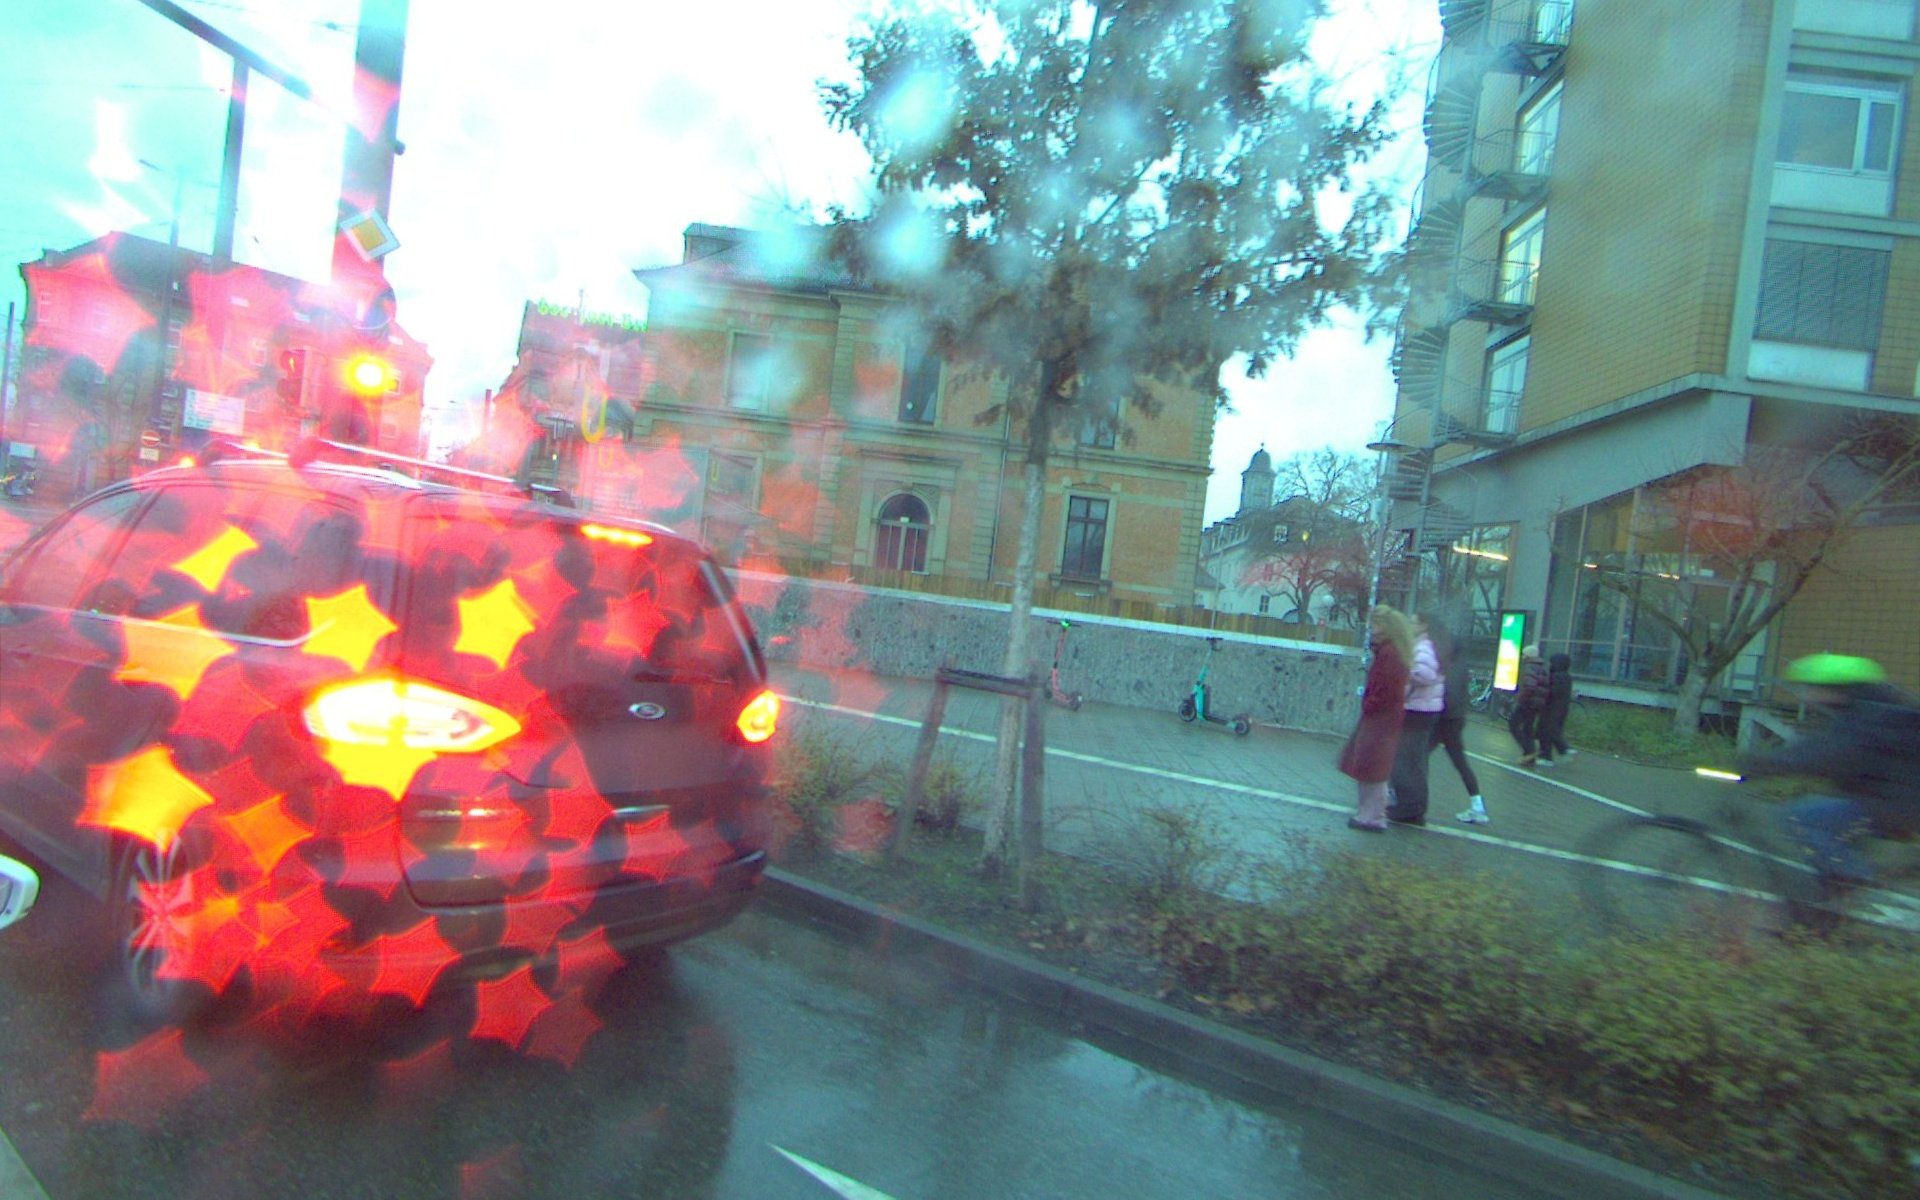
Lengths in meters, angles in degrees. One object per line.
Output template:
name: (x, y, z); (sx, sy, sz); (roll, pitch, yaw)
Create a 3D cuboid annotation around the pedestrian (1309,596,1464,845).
pedestrian: (3.332, 0.910, 7.895); (0.579, 1.805, 0.762); (4, 2, -33)

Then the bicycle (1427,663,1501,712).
bicycle: (13.609, 2.363, 27.189); (1.764, 1.116, 0.390); (7, 1, -7)

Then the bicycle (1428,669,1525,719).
bicycle: (13.392, 2.433, 26.113); (2.021, 1.004, 0.708); (7, 1, 7)

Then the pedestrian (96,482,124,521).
pedestrian: (-47.100, -5.454, 55.733); (0.774, 2.039, 0.731); (6, 1, 3)

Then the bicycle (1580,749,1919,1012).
bicycle: (4.378, 1.417, 5.049); (2.061, 0.959, 0.561); (6, 1, 34)

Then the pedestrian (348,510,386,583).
pedestrian: (-16.846, -1.508, 28.602); (0.669, 1.975, 0.673); (6, 1, -22)

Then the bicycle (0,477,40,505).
bicycle: (-57.527, -6.669, 61.342); (2.167, 1.394, 0.697); (7, 1, 1)

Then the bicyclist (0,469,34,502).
bicyclist: (-57.466, -6.954, 61.239); (1.052, 1.791, 1.050); (6, 1, 2)

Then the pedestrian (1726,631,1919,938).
pedestrian: (4.493, 0.882, 5.059); (0.835, 1.333, 0.874); (7, 1, 34)

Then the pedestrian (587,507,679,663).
pedestrian: (-4.612, -0.212, 14.156); (0.802, 2.039, 0.753); (8, 2, -34)

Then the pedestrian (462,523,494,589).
pedestrian: (-15.115, -1.384, 31.542); (0.671, 1.975, 0.656); (6, 1, -31)

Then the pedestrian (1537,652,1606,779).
pedestrian: (9.193, 1.716, 15.155); (0.549, 1.814, 0.584); (7, 1, 14)

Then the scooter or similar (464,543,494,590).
scooter or similar: (-14.772, -1.041, 30.889); (0.671, 1.334, 0.820); (6, 1, -31)

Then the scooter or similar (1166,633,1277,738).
scooter or similar: (3.523, 1.135, 13.631); (0.509, 1.229, 1.371); (6, 1, -31)

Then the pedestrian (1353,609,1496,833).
pedestrian: (3.818, 0.974, 8.286); (0.662, 1.711, 0.606); (4, 4, -34)

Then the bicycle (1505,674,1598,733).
bicycle: (13.827, 2.417, 23.535); (1.761, 1.116, 0.401); (7, 1, 7)

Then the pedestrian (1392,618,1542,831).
pedestrian: (4.438, 1.071, 8.819); (0.713, 1.709, 0.753); (6, 1, -34)

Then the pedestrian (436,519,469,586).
pedestrian: (-15.740, -1.482, 31.195); (0.671, 1.975, 0.656); (6, 1, -32)

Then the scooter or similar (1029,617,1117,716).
scooter or similar: (1.574, 0.911, 14.207); (0.507, 1.229, 1.375); (6, 1, -23)

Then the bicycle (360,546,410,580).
bicycle: (-18.420, -1.164, 32.266); (0.684, 0.993, 2.010); (6, 0, -10)

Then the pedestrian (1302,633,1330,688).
pedestrian: (11.491, 1.955, 32.473); (0.652, 1.678, 0.788); (7, 1, 23)

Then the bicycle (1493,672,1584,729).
bicycle: (13.882, 2.407, 24.177); (1.761, 1.116, 0.442); (7, 1, 7)

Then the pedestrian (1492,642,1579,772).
pedestrian: (8.675, 1.585, 15.202); (0.735, 1.814, 0.854); (7, 1, 14)

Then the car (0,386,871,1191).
car: (-2.717, 0.272, 4.218); (4.353, 1.822, 1.779); (8, 0, 34)

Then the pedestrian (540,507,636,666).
pedestrian: (-4.938, -0.179, 13.328); (0.802, 1.954, 0.753); (8, 2, -34)

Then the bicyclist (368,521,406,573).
bicyclist: (-18.384, -1.689, 32.283); (0.684, 1.595, 0.777); (6, 1, -10)
